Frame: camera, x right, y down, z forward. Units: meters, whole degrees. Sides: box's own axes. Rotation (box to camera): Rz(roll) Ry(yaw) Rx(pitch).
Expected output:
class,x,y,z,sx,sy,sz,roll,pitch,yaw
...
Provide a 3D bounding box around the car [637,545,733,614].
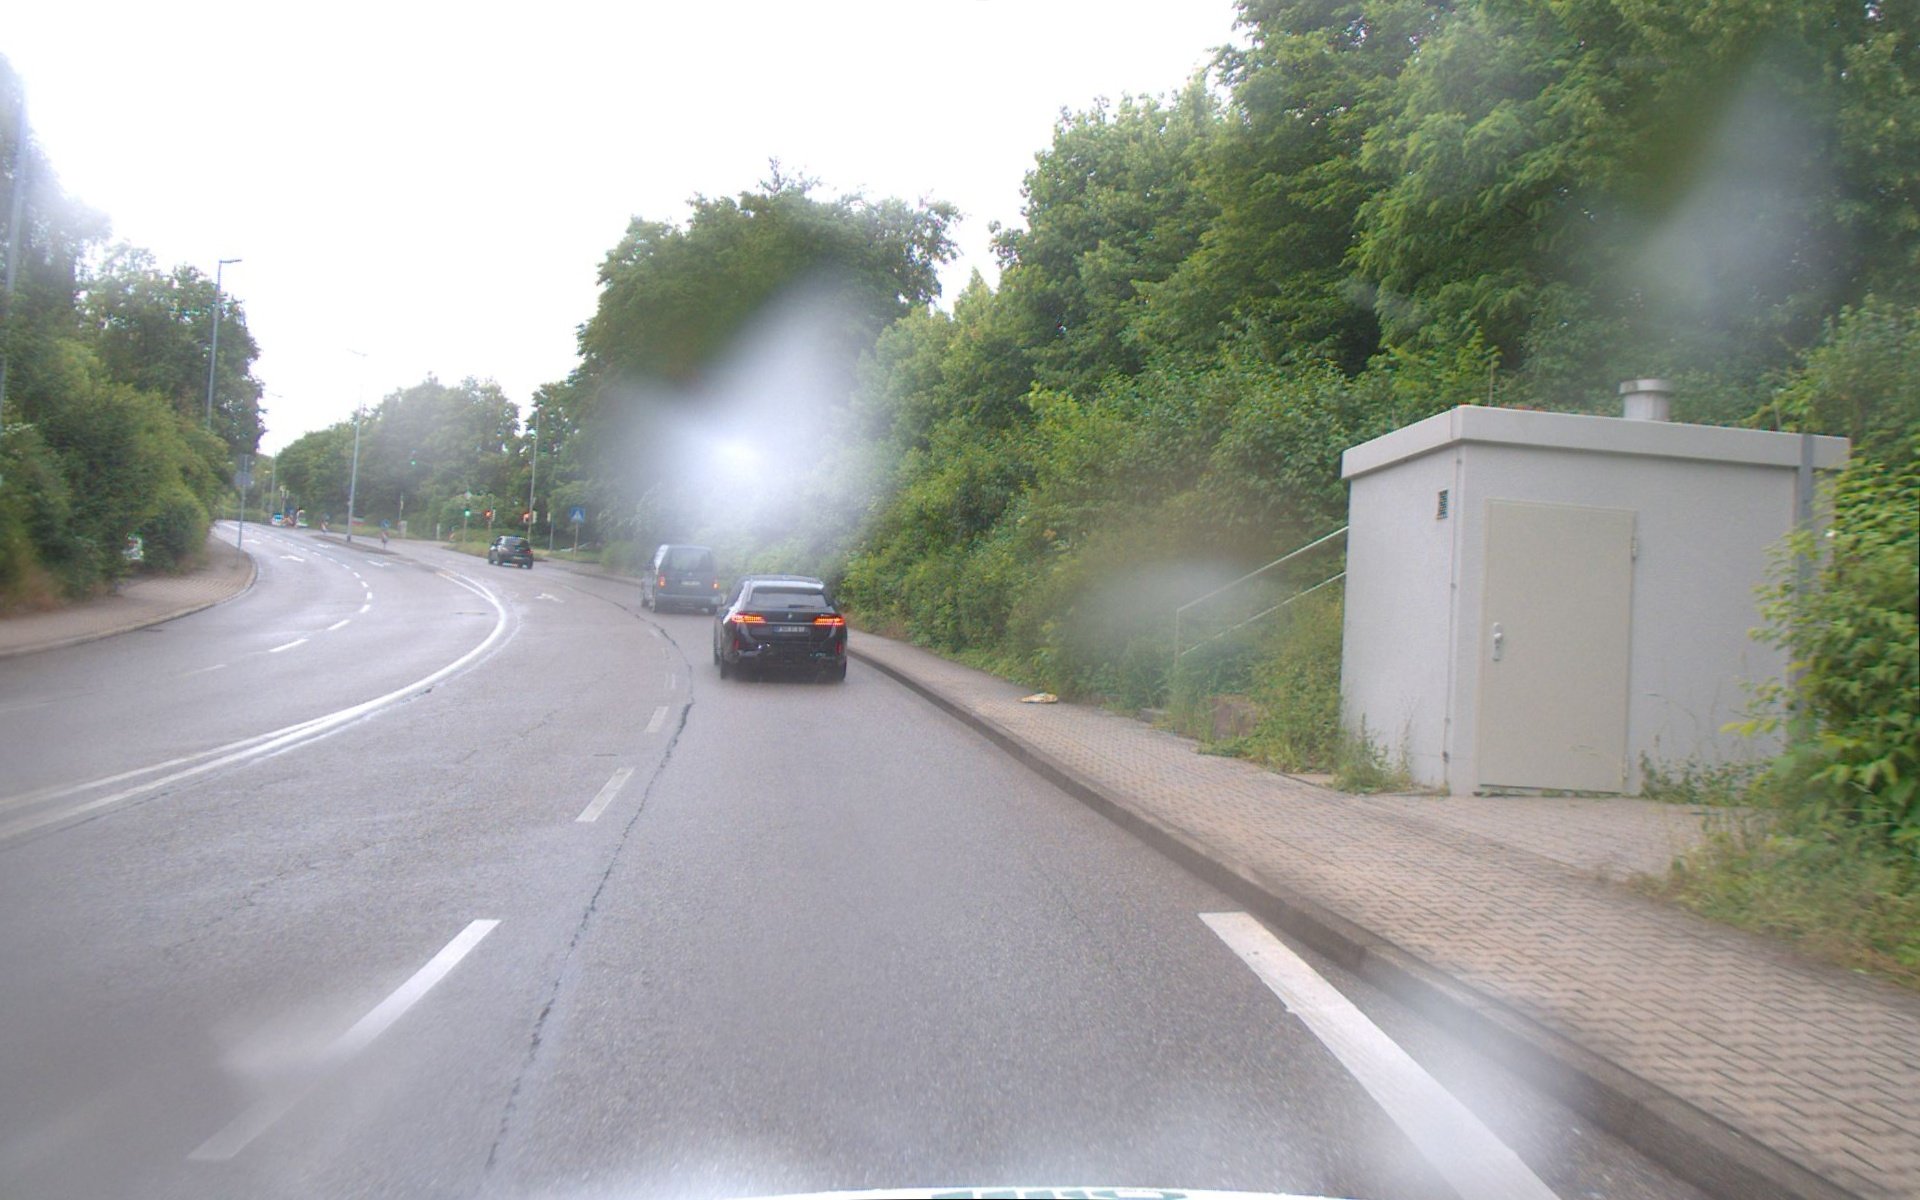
class,x,y,z,sx,sy,sz,roll,pitch,yaw
car,-7.593,-0.598,45.455,1.963,1.779,3.979,1,1,-19

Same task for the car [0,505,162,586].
class,x,y,z,sx,sy,sz,roll,pitch,yaw
car,-22.735,-1.417,42.318,3.936,1.471,1.843,9,-1,-24

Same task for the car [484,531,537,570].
class,x,y,z,sx,sy,sz,roll,pitch,yaw
car,-22.447,-2.461,82.511,1.828,1.691,3.968,3,-2,-25

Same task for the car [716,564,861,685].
class,x,y,z,sx,sy,sz,roll,pitch,yaw
car,-2.725,0.339,25.440,1.956,1.614,4.654,3,0,-8
